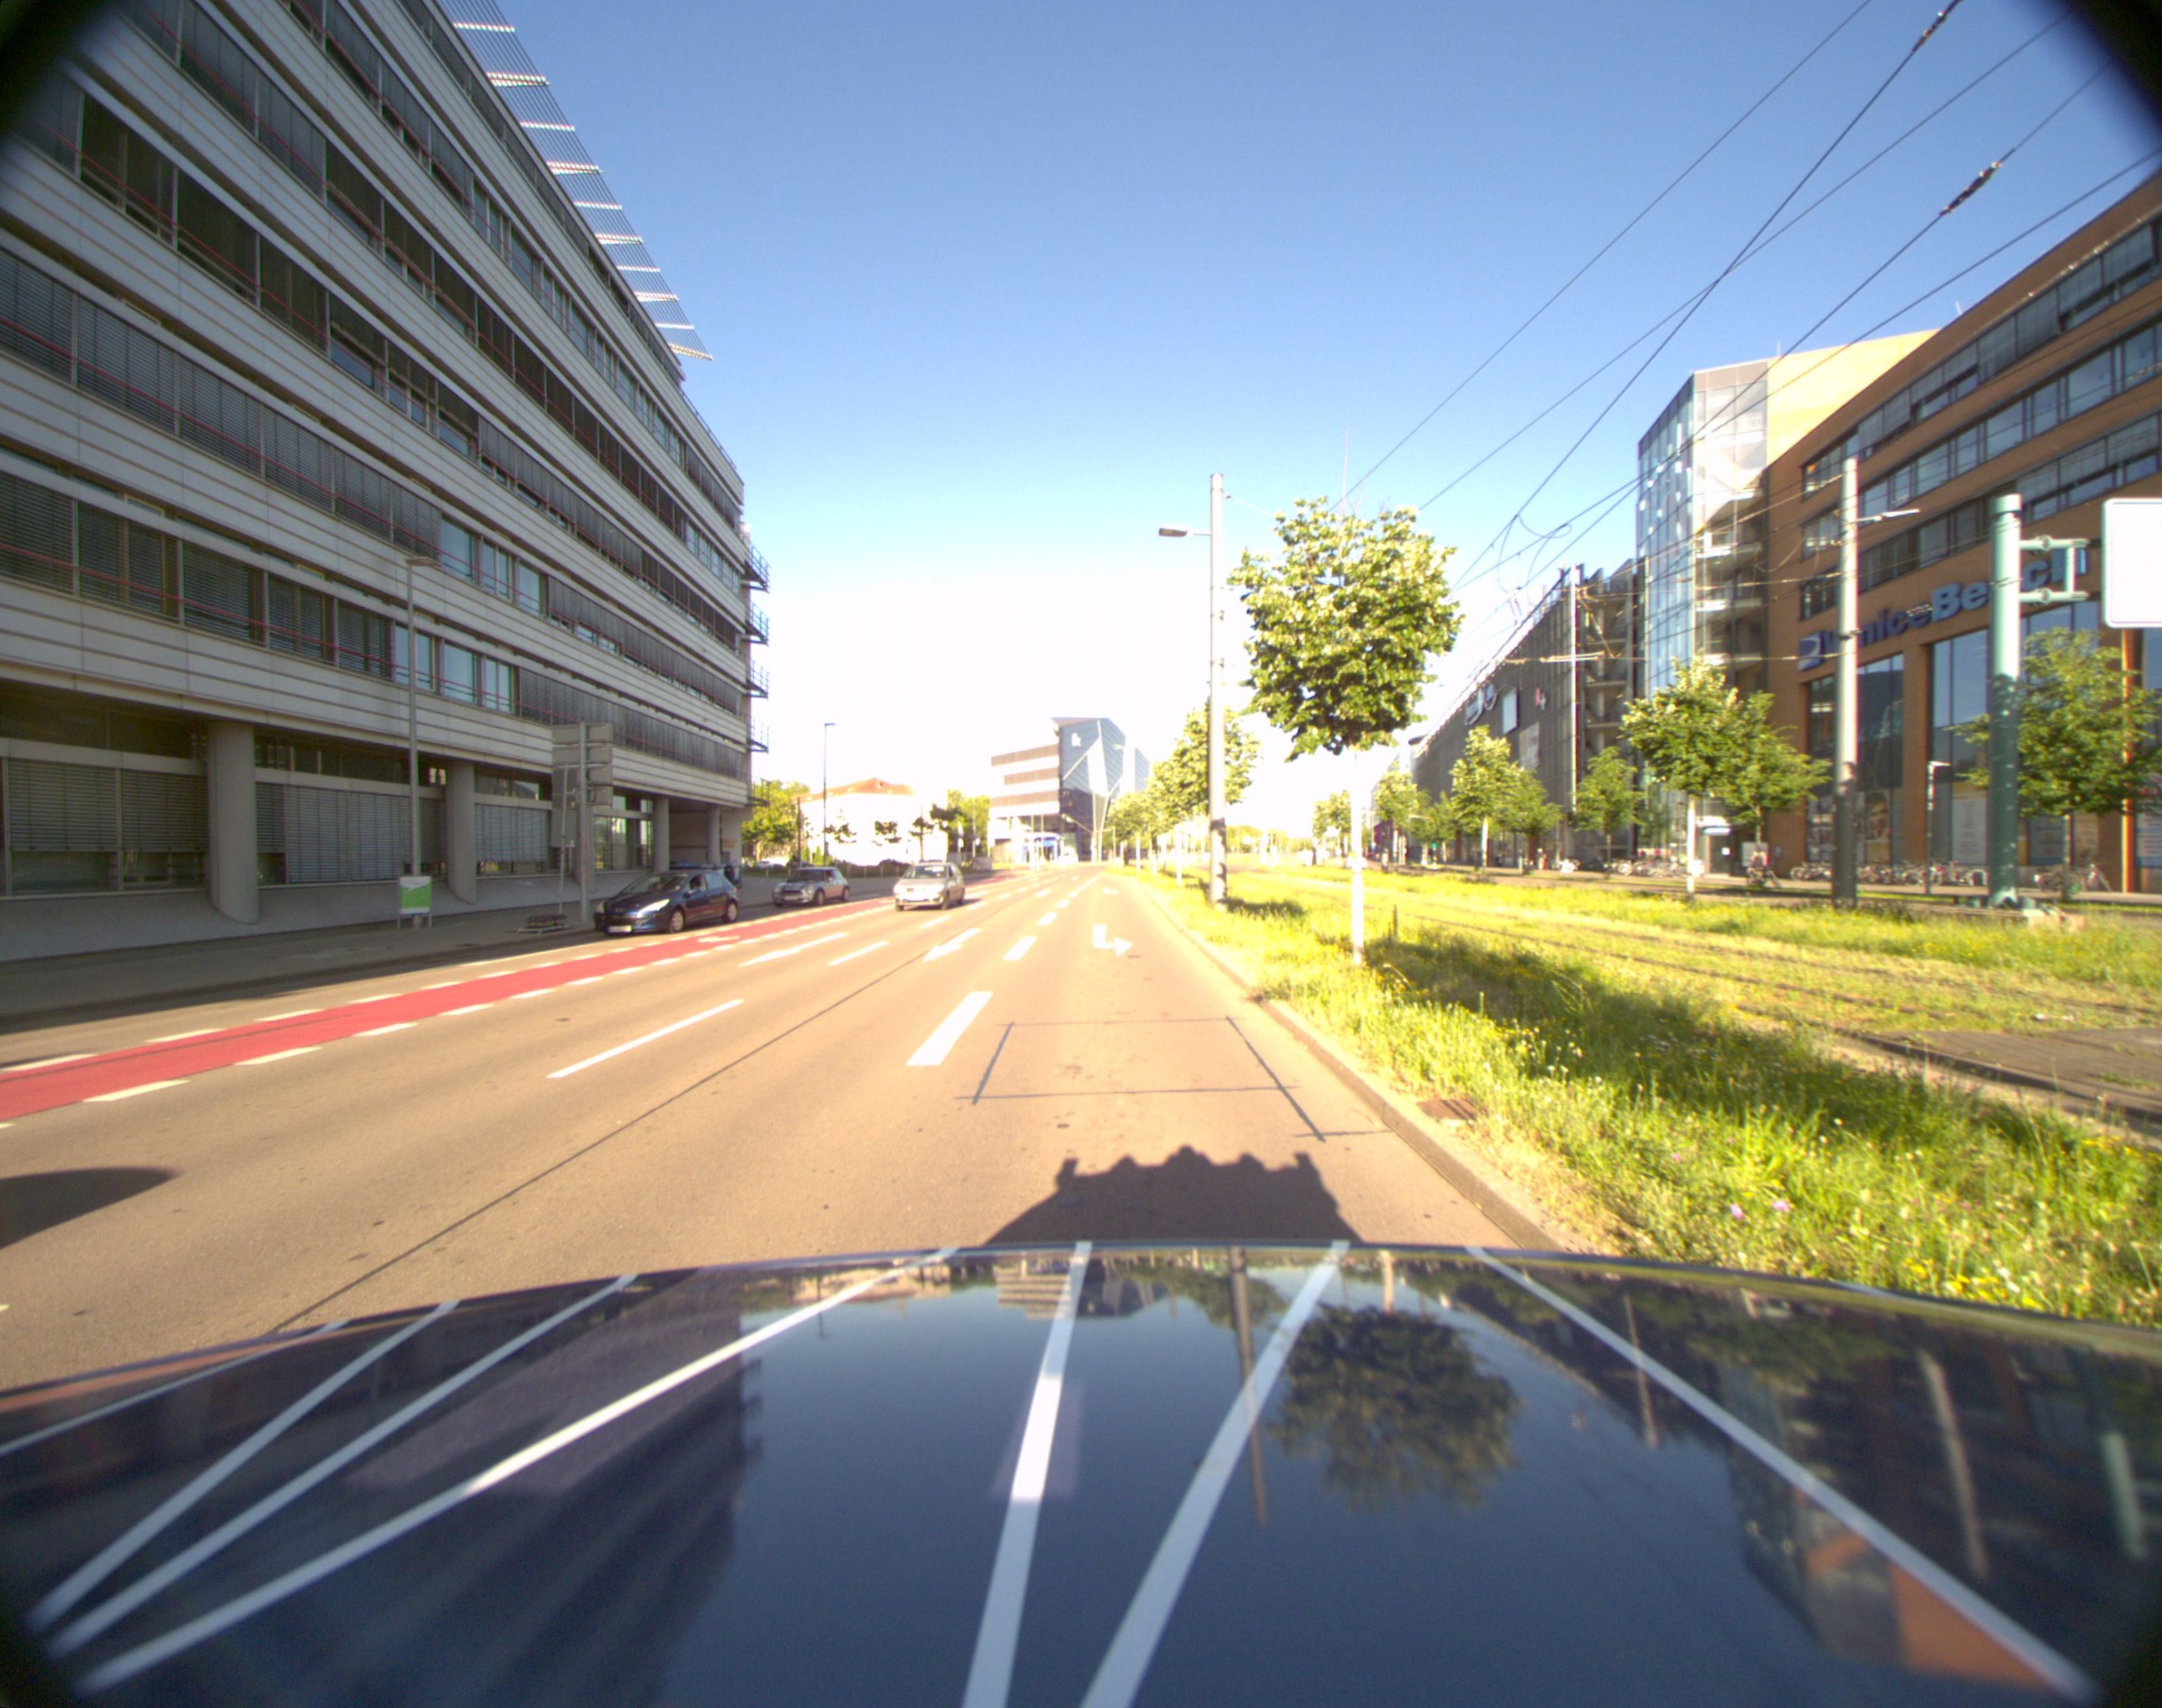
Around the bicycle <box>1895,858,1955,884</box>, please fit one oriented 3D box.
[{"bbox_3d":[34.884,0.704,31.416,1.769,1.043,0.491,-1,1,8],"label":"bicycle"}]

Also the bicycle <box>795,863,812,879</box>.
[{"bbox_3d":[-18.734,1.133,51.308,0.505,1.052,1.702,2,1,2],"label":"bicycle"}]

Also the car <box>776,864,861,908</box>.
[{"bbox_3d":[-9.675,1.121,28.304,1.438,1.437,4.001,-1,0,6],"label":"car"}]

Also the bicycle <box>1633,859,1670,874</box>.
[{"bbox_3d":[35.511,0.771,47.295,1.768,0.921,0.565,-1,1,17],"label":"bicycle"}]

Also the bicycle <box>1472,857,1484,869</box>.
[{"bbox_3d":[31.581,0.674,60.482,0.386,0.918,1.773,0,1,13],"label":"bicycle"}]

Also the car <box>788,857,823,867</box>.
[{"bbox_3d":[-39.857,1.159,109.877,4.516,1.414,2.002,-1,1,17],"label":"car"}]

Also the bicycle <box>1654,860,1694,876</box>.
[{"bbox_3d":[34.686,0.825,44.437,1.768,0.921,0.565,-1,1,17],"label":"bicycle"}]

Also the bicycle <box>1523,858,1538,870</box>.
[{"bbox_3d":[32.659,0.729,55.202,0.386,0.863,1.773,0,1,13],"label":"bicycle"}]

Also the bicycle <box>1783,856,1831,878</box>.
[{"bbox_3d":[35.514,0.632,37.177,1.769,1.043,0.491,-1,1,8],"label":"bicycle"}]

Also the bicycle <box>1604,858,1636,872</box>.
[{"bbox_3d":[36.742,0.730,51.803,1.768,0.921,0.491,-1,1,17],"label":"bicycle"}]

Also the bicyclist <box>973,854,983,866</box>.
[{"bbox_3d":[-13.310,0.754,98.110,1.006,1.598,0.880,-1,1,14],"label":"bicyclist"}]

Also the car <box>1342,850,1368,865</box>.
[{"bbox_3d":[25.793,0.333,71.686,1.808,1.320,4.409,0,1,13],"label":"car"}]

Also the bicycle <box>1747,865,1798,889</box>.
[{"bbox_3d":[28.013,0.920,30.815,0.464,0.863,1.771,-1,1,1],"label":"bicycle"}]

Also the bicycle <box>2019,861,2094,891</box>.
[{"bbox_3d":[34.224,0.768,26.668,1.769,1.043,0.491,-1,1,8],"label":"bicycle"}]

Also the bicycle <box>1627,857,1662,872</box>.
[{"bbox_3d":[36.004,0.683,48.561,1.768,0.921,0.491,-1,1,17],"label":"bicycle"}]

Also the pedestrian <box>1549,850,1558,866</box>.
[{"bbox_3d":[38.391,0.359,61.683,0.448,1.282,0.630,0,1,13],"label":"pedestrian"}]

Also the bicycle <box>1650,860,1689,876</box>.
[{"bbox_3d":[34.973,0.808,45.189,1.768,0.921,0.565,-1,1,17],"label":"bicycle"}]

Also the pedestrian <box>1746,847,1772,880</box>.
[{"bbox_3d":[34.369,0.475,38.525,0.746,1.659,0.676,-1,1,7],"label":"pedestrian"}]

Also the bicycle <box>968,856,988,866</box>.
[{"bbox_3d":[-13.295,0.912,98.095,2.368,1.304,0.952,-1,1,13],"label":"bicycle"}]

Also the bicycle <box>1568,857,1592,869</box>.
[{"bbox_3d":[37.635,0.662,57.321,1.398,0.921,0.462,-1,1,17],"label":"bicycle"}]

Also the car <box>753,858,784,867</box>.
[{"bbox_3d":[-46.160,1.293,112.235,3.990,1.237,2.003,-1,1,22],"label":"car"}]

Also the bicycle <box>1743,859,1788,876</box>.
[{"bbox_3d":[37.506,0.740,41.648,1.768,0.921,0.565,-1,1,17],"label":"bicycle"}]

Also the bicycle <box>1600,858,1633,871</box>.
[{"bbox_3d":[36.906,0.730,52.375,1.768,0.921,0.491,-1,1,17],"label":"bicycle"}]

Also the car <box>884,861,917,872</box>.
[{"bbox_3d":[-24.860,1.705,104.591,3.991,1.414,2.003,-1,1,20],"label":"car"}]

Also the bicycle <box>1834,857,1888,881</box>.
[{"bbox_3d":[35.125,0.671,34.211,1.769,1.043,0.491,-1,1,8],"label":"bicycle"}]

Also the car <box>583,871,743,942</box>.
[{"bbox_3d":[-10.248,1.219,19.011,1.736,1.437,4.000,-2,0,0],"label":"car"}]

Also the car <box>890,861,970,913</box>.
[{"bbox_3d":[-4.745,1.008,24.411,1.620,1.421,3.767,-2,1,3],"label":"car"}]

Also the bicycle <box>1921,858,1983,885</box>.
[{"bbox_3d":[35.228,0.698,30.752,1.769,1.043,0.491,-1,1,8],"label":"bicycle"}]

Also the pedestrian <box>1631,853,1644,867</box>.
[{"bbox_3d":[40.736,0.431,55.626,0.629,1.048,0.450,-1,1,13],"label":"pedestrian"}]

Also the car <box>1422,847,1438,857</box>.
[{"bbox_3d":[54.250,-0.361,118.119,1.582,1.521,3.754,-2,1,13],"label":"car"}]

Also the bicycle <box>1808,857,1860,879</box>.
[{"bbox_3d":[35.263,0.655,35.600,1.769,1.043,0.491,-1,1,8],"label":"bicycle"}]

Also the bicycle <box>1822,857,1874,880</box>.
[{"bbox_3d":[35.213,0.662,34.898,1.769,1.043,0.491,-1,1,8],"label":"bicycle"}]

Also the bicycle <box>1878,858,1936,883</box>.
[{"bbox_3d":[34.958,0.695,32.167,1.769,1.043,0.491,-1,1,8],"label":"bicycle"}]

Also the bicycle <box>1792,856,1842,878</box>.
[{"bbox_3d":[35.450,0.639,36.612,1.769,1.043,0.491,-1,1,8],"label":"bicycle"}]

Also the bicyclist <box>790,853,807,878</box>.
[{"bbox_3d":[-19.071,0.769,51.306,0.685,1.609,0.991,-1,1,2],"label":"bicyclist"}]

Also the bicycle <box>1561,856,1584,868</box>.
[{"bbox_3d":[37.985,0.637,58.744,1.398,0.921,0.462,-1,1,17],"label":"bicycle"}]

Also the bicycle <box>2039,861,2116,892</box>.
[{"bbox_3d":[34.181,0.775,26.070,1.769,1.043,0.491,-1,1,8],"label":"bicycle"}]

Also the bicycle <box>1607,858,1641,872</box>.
[{"bbox_3d":[36.545,0.742,51.148,1.768,0.921,0.565,-1,1,17],"label":"bicycle"}]

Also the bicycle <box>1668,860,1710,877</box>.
[{"bbox_3d":[34.636,0.836,43.280,1.768,0.921,0.565,-1,1,17],"label":"bicycle"}]

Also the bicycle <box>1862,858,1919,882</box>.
[{"bbox_3d":[35.015,0.687,32.892,1.769,1.043,0.491,-1,1,8],"label":"bicycle"}]

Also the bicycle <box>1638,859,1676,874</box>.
[{"bbox_3d":[35.301,0.784,46.611,1.768,0.921,0.565,-1,1,17],"label":"bicycle"}]

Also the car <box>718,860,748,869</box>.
[{"bbox_3d":[-52.702,1.597,115.145,3.990,1.368,1.938,-1,1,24],"label":"car"}]
